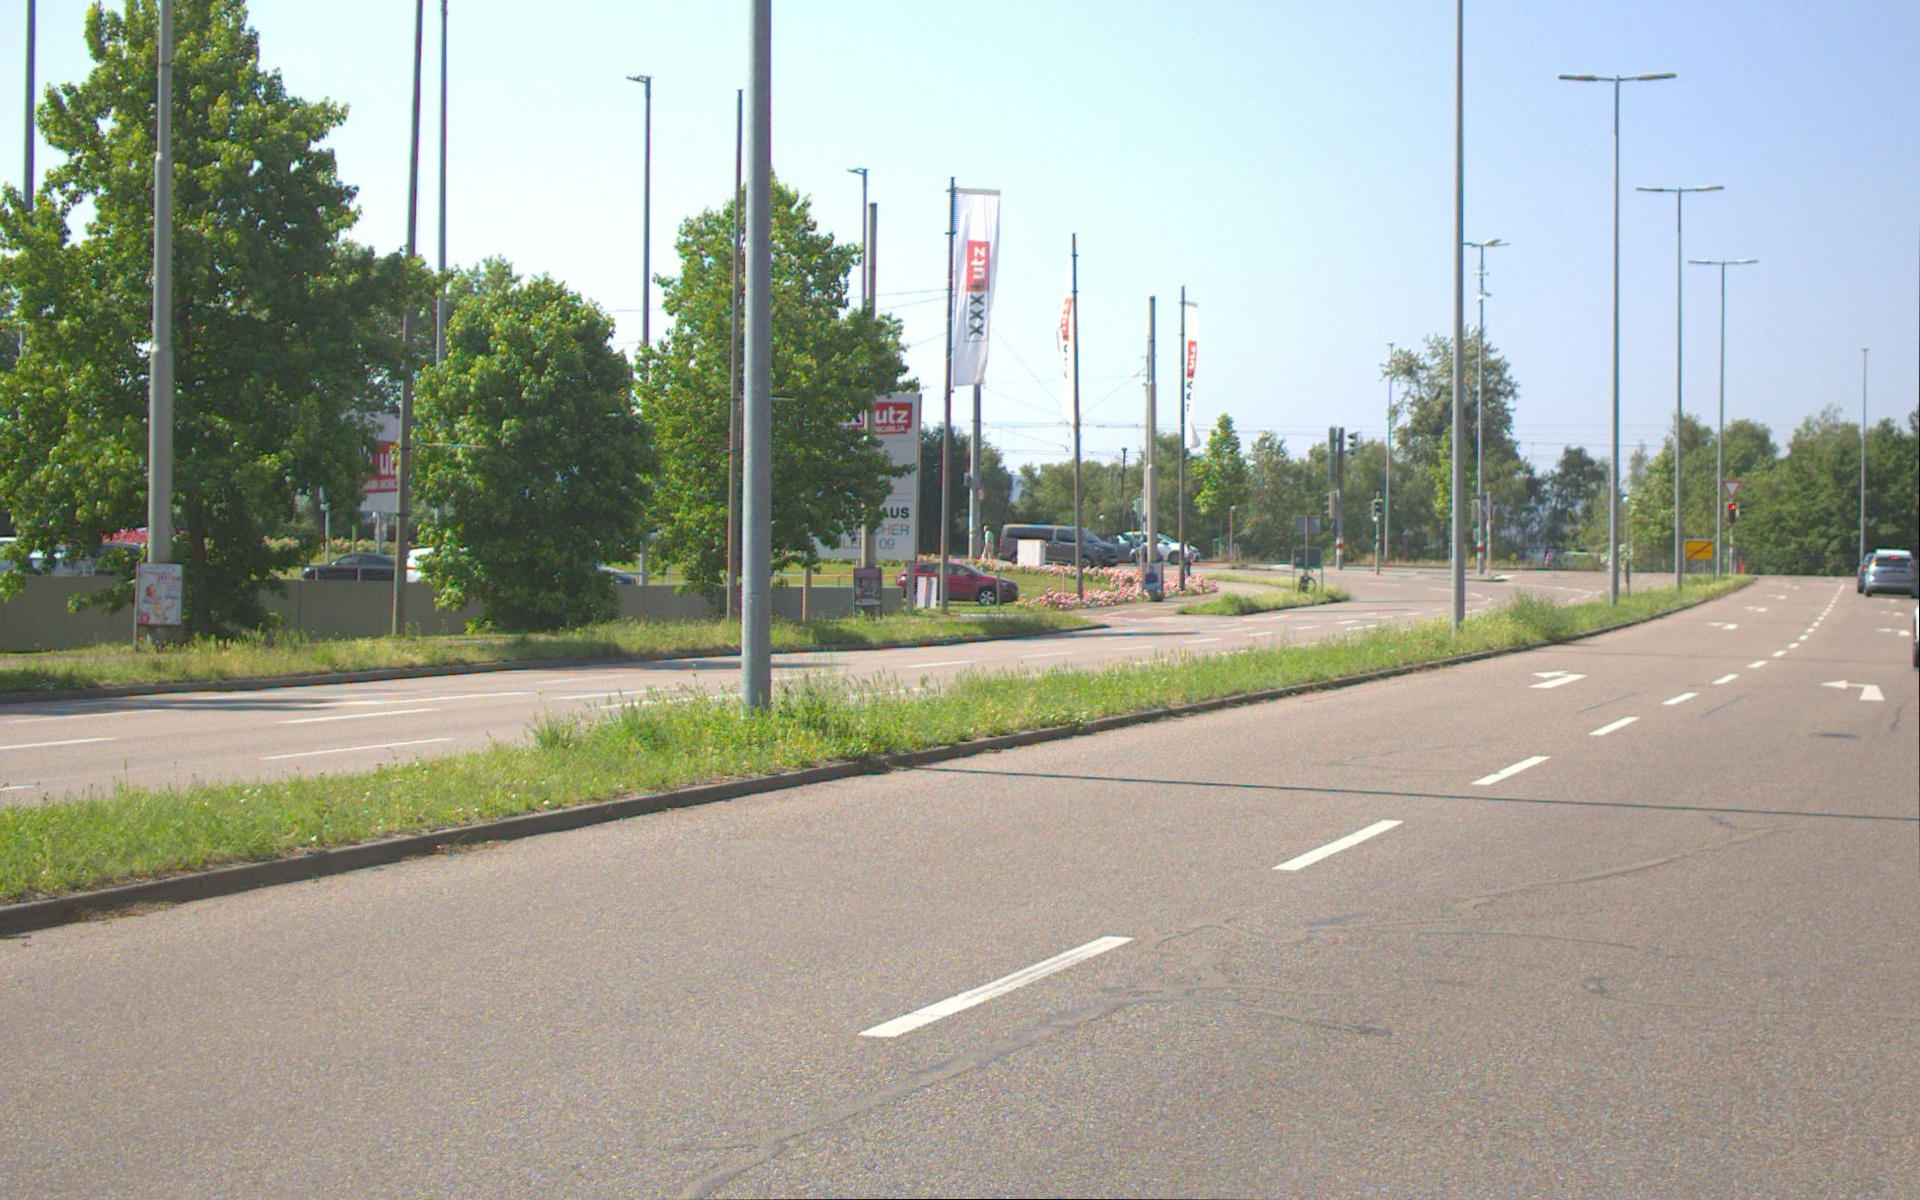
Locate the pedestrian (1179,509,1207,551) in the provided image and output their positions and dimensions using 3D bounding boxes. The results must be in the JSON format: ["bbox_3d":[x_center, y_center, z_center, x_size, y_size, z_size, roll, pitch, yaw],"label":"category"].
[{"bbox_3d":[9.426,-2.844,139.332,0.841,1.701,0.904,0,1,27],"label":"pedestrian"}]

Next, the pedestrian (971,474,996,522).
[{"bbox_3d":[0.980,-4.239,143.450,0.717,1.965,0.917,1,0,19],"label":"pedestrian"}]

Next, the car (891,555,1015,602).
[{"bbox_3d":[-0.243,-0.773,124.587,4.185,1.600,1.826,1,0,11],"label":"car"}]

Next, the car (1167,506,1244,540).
[{"bbox_3d":[11.280,-3.537,158.070,3.345,1.495,1.409,1,0,11],"label":"car"}]

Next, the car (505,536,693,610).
[{"bbox_3d":[-9.300,-0.700,88.709,4.415,1.836,1.944,1,0,15],"label":"car"}]

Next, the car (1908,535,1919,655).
[{"bbox_3d":[13.564,-0.029,45.588,1.632,1.493,3.868,1,3,12],"label":"car"}]

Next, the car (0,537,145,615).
[{"bbox_3d":[-24.053,-0.639,90.379,4.672,2.007,2.029,0,1,12],"label":"car"}]

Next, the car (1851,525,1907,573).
[{"bbox_3d":[31.105,-1.739,116.468,1.707,1.568,4.172,0,1,13],"label":"car"}]
